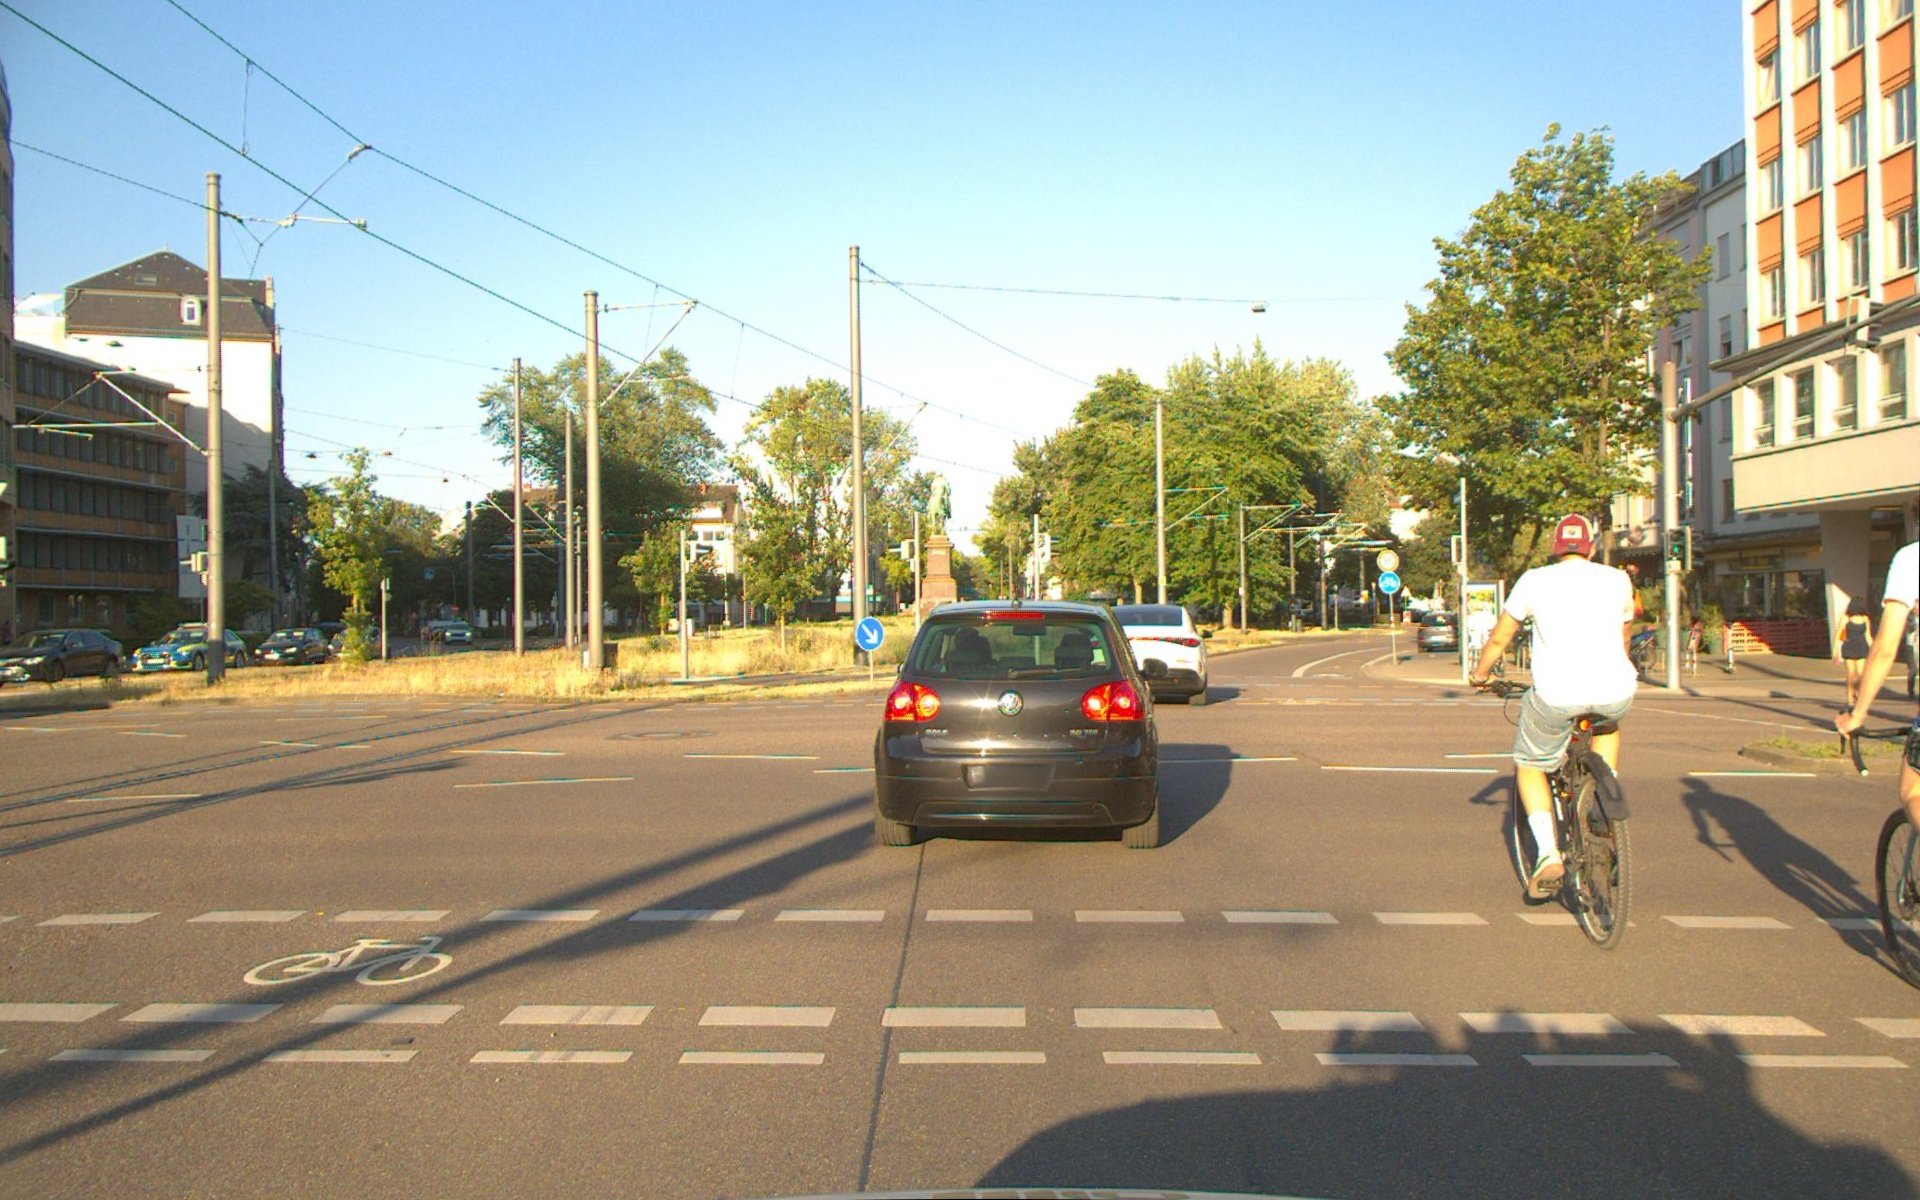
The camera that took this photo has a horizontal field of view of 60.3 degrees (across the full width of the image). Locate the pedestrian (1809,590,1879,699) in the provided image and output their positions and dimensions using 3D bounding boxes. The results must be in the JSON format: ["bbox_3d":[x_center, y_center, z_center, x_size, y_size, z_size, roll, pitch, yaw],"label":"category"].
[{"bbox_3d":[13.314,0.662,24.915,0.667,1.617,0.747,-1,0,5],"label":"pedestrian"}]

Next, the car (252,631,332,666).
[{"bbox_3d":[-24.410,1.743,60.524,1.489,1.174,3.598,-1,0,-1],"label":"car"}]

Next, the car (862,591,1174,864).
[{"bbox_3d":[0.523,0.707,11.134,1.710,1.486,4.106,0,0,6],"label":"car"}]

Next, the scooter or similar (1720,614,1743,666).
[{"bbox_3d":[19.283,0.984,41.358,0.406,1.276,1.183,-1,0,20],"label":"scooter or similar"}]

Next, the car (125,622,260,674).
[{"bbox_3d":[-24.277,1.477,52.534,1.849,1.506,4.783,-1,0,3],"label":"car"}]

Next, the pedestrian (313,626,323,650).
[{"bbox_3d":[-38.826,2.305,100.006,0.405,1.455,0.485,-1,0,0],"label":"pedestrian"}]

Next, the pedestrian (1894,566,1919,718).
[{"bbox_3d":[11.219,0.472,18.788,0.648,1.734,1.072,-1,0,5],"label":"pedestrian"}]

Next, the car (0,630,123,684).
[{"bbox_3d":[-24.377,1.507,44.538,1.689,1.305,3.789,-1,0,1],"label":"car"}]

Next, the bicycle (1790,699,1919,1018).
[{"bbox_3d":[3.626,0.927,5.862,0.563,1.046,1.858,-1,0,5],"label":"bicycle"}]

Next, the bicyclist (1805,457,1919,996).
[{"bbox_3d":[3.632,0.432,5.993,0.659,1.839,0.994,-1,-1,4],"label":"bicyclist"}]

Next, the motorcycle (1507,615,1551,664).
[{"bbox_3d":[15.415,1.049,44.846,0.652,1.264,2.202,-1,0,7],"label":"motorcycle"}]

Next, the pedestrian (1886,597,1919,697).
[{"bbox_3d":[16.773,0.812,29.046,0.556,1.731,0.812,-1,0,2],"label":"pedestrian"}]

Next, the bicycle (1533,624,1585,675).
[{"bbox_3d":[14.403,1.172,39.832,0.631,1.146,1.875,-1,1,2],"label":"bicycle"}]

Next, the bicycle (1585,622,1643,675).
[{"bbox_3d":[15.687,1.152,39.718,0.631,1.178,2.125,-1,1,2],"label":"bicycle"}]

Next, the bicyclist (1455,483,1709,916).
[{"bbox_3d":[2.812,0.429,7.595,0.809,1.839,1.058,-1,-1,4],"label":"bicyclist"}]

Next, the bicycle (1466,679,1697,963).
[{"bbox_3d":[2.785,0.932,7.604,0.468,1.046,1.982,-1,0,5],"label":"bicycle"}]

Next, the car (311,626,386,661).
[{"bbox_3d":[-24.823,1.732,67.265,1.612,1.304,3.740,-1,0,1],"label":"car"}]

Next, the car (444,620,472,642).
[{"bbox_3d":[-37.067,2.256,122.137,1.740,1.508,4.293,-1,0,-14],"label":"car"}]

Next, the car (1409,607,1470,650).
[{"bbox_3d":[18.346,1.061,63.224,1.693,1.498,3.897,-4,-1,23],"label":"car"}]

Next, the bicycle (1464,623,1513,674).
[{"bbox_3d":[12.712,1.158,39.812,0.631,1.146,1.875,-1,1,2],"label":"bicycle"}]

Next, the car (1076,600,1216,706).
[{"bbox_3d":[2.916,0.756,25.226,1.825,1.466,4.200,-1,0,10],"label":"car"}]

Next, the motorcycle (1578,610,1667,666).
[{"bbox_3d":[17.178,0.989,42.930,2.000,1.431,0.761,-1,0,8],"label":"motorcycle"}]
